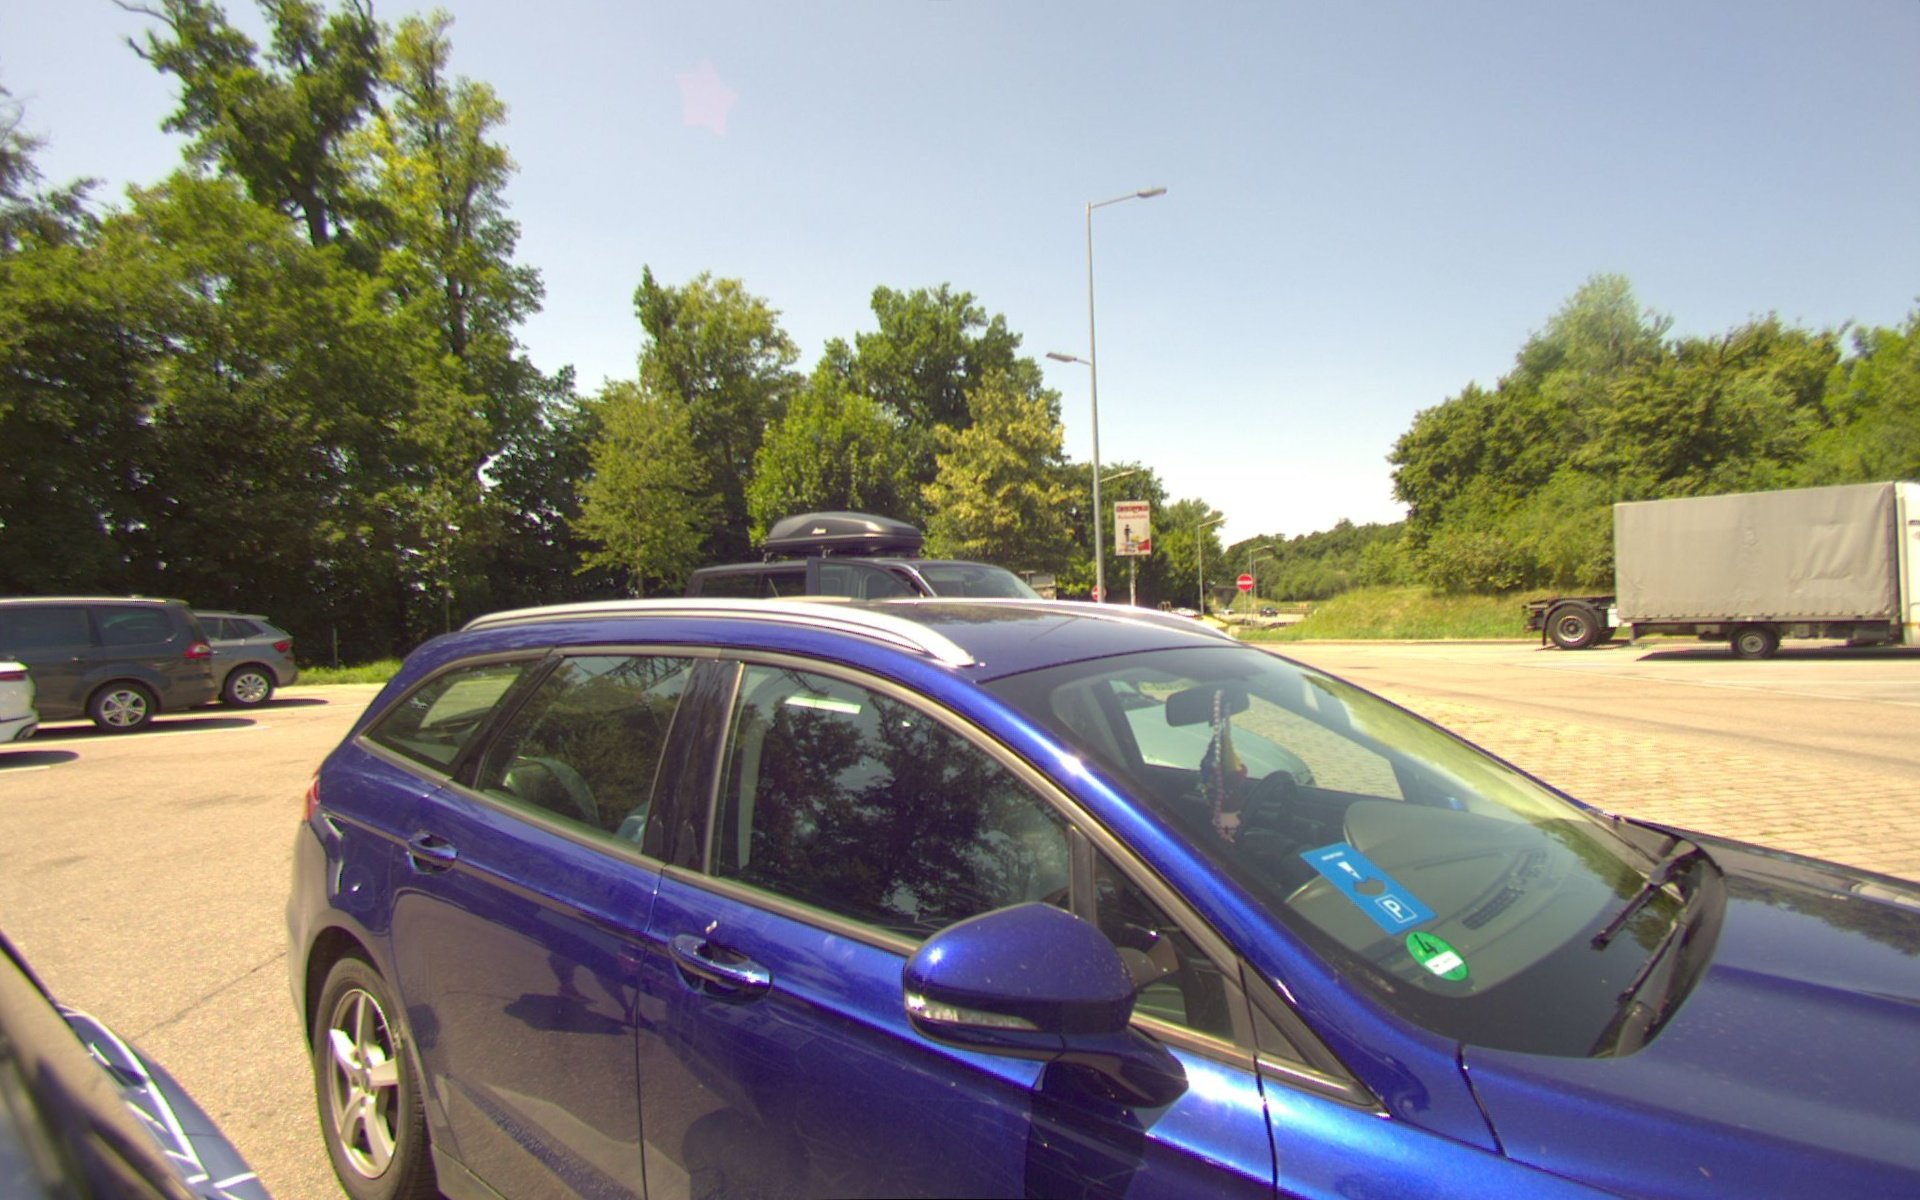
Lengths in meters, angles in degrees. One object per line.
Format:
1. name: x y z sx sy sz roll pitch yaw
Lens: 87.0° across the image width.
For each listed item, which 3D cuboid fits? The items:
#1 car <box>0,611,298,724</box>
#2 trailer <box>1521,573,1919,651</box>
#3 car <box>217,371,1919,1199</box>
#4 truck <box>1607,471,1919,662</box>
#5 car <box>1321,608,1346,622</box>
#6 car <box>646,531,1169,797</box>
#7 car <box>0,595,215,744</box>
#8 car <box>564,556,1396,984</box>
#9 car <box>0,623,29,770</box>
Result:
1. car: -12.587 0.957 15.698 3.762 1.551 1.724 0 -1 -38
2. trailer: 17.641 0.315 23.152 8.088 1.385 2.200 -4 -1 41
3. car: 0.254 0.634 2.069 4.637 1.493 1.720 -2 -1 39
4. truck: 16.714 -0.598 18.930 7.337 3.235 2.502 -4 -1 41
5. car: 50.498 1.992 136.913 1.810 1.785 3.900 -2 -1 0
6. car: -0.652 0.511 9.355 4.635 1.884 1.937 -2 0 37
7. car: -11.648 0.823 12.617 3.762 1.737 1.724 0 -1 -38
8. car: -0.208 0.672 5.781 4.637 1.545 1.720 -2 0 39
9. car: -10.989 0.932 9.153 3.767 1.396 1.722 0 -1 -44
